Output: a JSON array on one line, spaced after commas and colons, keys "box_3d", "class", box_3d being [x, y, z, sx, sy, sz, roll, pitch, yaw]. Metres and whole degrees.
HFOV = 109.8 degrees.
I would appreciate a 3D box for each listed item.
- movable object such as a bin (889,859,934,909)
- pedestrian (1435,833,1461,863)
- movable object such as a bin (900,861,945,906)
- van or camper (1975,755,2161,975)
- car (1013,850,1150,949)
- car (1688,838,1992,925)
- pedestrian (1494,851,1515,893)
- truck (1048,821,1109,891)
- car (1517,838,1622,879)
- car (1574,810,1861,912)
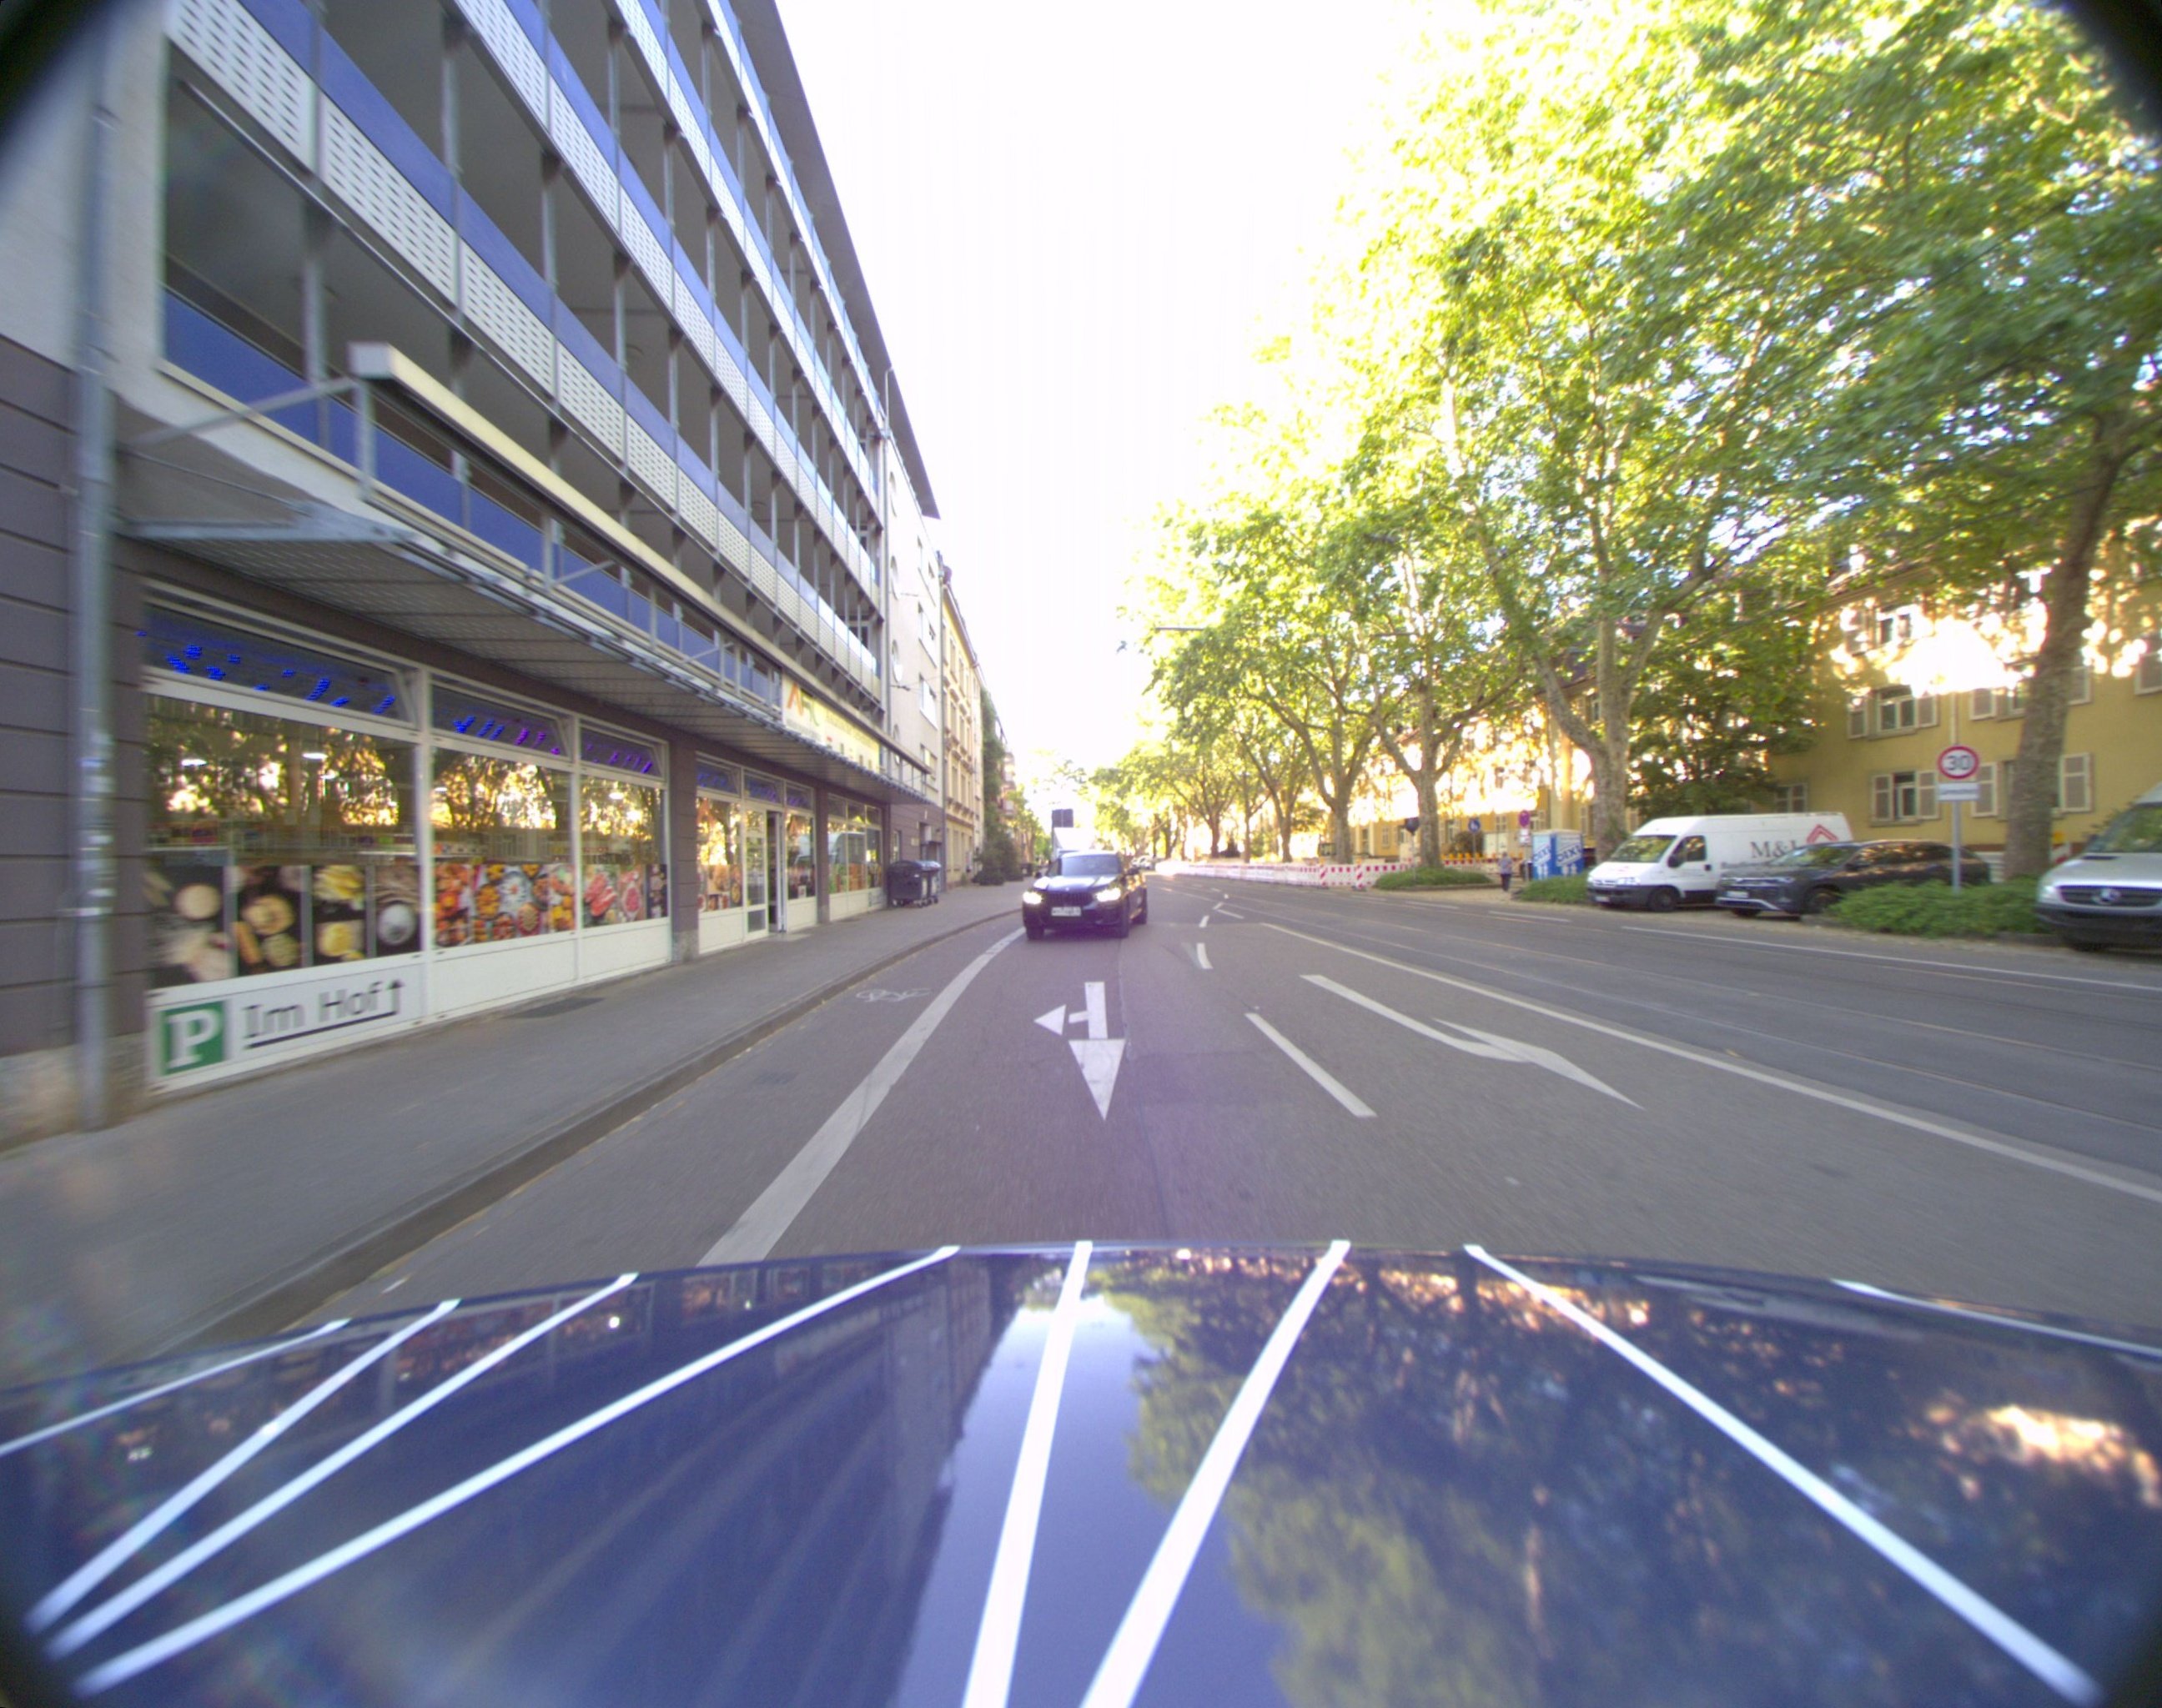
[{"box_3d": [-5.145, 0.893, 23.117, 1.069, 1.438, 1.296, -1, 0, 0], "class": "movable object such as a bin"}, {"box_3d": [24.453, -0.396, 50.651, 1.098, 2.002, 1.235, -1, 0, -4], "class": "pedestrian"}, {"box_3d": [-5.195, 0.949, 25.013, 1.122, 1.437, 1.306, -1, 0, 4], "class": "movable object such as a bin"}, {"box_3d": [16.110, 0.030, 10.009, 6.127, 2.661, 2.229, -2, 0, -1], "class": "van or camper"}, {"box_3d": [0.188, 0.828, 15.916, 1.941, 1.733, 4.479, -2, 0, 12], "class": "car"}, {"box_3d": [15.991, 0.549, 16.183, 4.575, 1.621, 1.969, -1, 0, -2], "class": "car"}, {"box_3d": [16.015, 0.681, 28.727, 0.595, 1.563, 0.718, -1, 0, 22], "class": "pedestrian"}, {"box_3d": [-0.283, 0.111, 39.886, 2.385, 3.165, 8.525, 2, 0, -5], "class": "truck"}, {"box_3d": [21.060, 0.192, 32.995, 1.829, 1.592, 4.221, -3, 0, 1], "class": "car"}, {"box_3d": [15.914, 0.162, 19.209, 5.612, 2.361, 2.025, -1, 0, -2], "class": "car"}]
